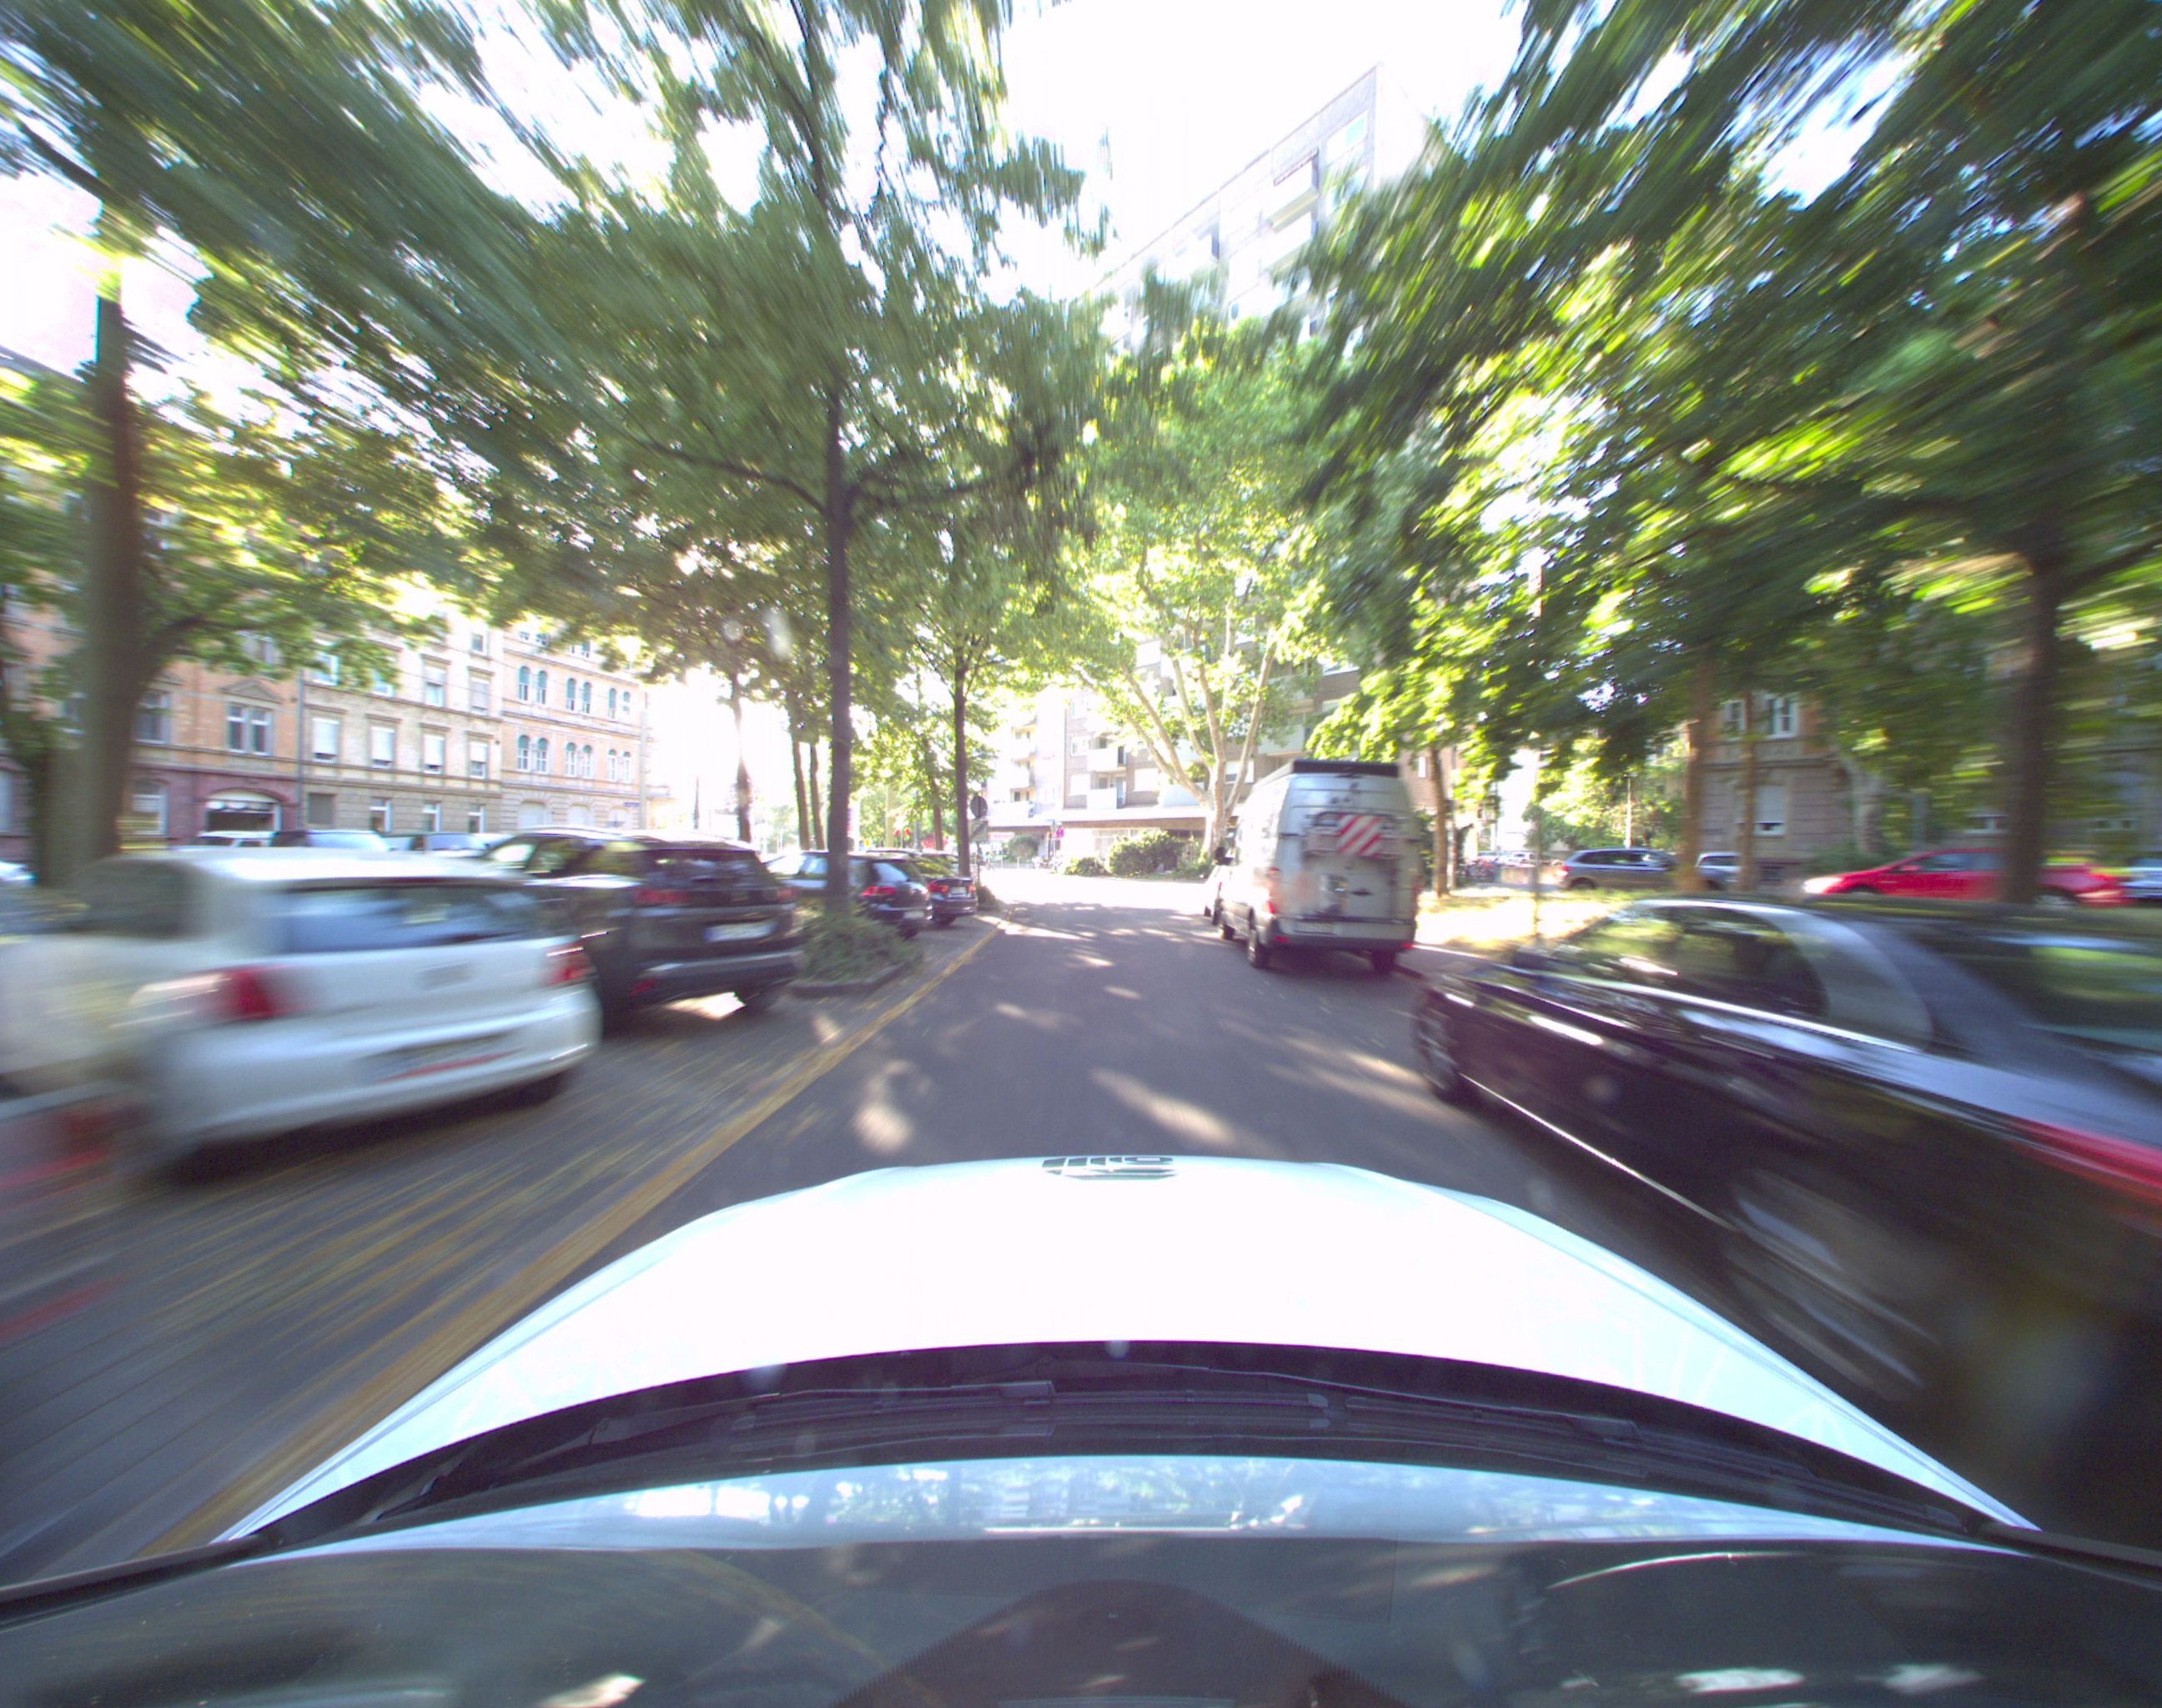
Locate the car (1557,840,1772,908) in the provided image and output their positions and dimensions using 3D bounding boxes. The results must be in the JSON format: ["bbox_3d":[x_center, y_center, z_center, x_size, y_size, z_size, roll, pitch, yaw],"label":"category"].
[{"bbox_3d":[14.865,0.494,20.917,1.752,1.552,4.224,4,-3,-43],"label":"car"}]

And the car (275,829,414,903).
[{"bbox_3d":[-21.734,0.317,24.020,3.948,2.013,2.013,0,0,32],"label":"car"}]

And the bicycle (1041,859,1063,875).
[{"bbox_3d":[-1.758,0.787,49.635,0.546,0.904,1.718,0,0,-33],"label":"bicycle"}]

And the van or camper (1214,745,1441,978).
[{"bbox_3d":[3.416,0.065,12.641,2.075,2.762,5.851,1,0,4],"label":"van or camper"}]

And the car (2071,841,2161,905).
[{"bbox_3d":[28.100,0.462,21.551,1.630,1.596,3.671,0,0,37],"label":"car"}]

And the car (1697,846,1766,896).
[{"bbox_3d":[21.793,0.504,27.358,1.712,1.472,4.026,0,2,38],"label":"car"}]

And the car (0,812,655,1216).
[{"bbox_3d":[-4.739,0.585,4.915,4.108,1.459,1.781,3,0,29],"label":"car"}]

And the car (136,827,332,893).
[{"bbox_3d":[-30.183,0.146,29.321,1.846,2.063,4.998,3,1,-1],"label":"car"}]

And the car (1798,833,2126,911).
[{"bbox_3d":[18.478,0.364,17.457,4.587,1.449,1.754,0,-2,44],"label":"car"}]

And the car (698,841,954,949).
[{"bbox_3d":[-4.326,0.613,13.810,3.825,1.439,1.842,3,0,26],"label":"car"}]

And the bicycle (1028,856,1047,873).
[{"bbox_3d":[-2.755,0.638,51.349,0.640,1.022,2.074,0,0,-20],"label":"bicycle"}]

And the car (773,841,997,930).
[{"bbox_3d":[-4.010,0.586,16.644,4.149,1.439,1.842,3,0,26],"label":"car"}]

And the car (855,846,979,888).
[{"bbox_3d":[-6.235,0.483,31.078,4.247,1.429,1.782,2,0,17],"label":"car"}]

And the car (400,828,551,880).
[{"bbox_3d":[-22.097,-0.021,29.738,4.999,1.764,2.096,0,0,22],"label":"car"}]

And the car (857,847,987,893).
[{"bbox_3d":[-5.509,0.538,28.352,3.997,1.406,1.782,2,0,15],"label":"car"}]

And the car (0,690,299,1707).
[{"bbox_3d":[-4.117,0.507,1.766,4.940,1.781,1.999,3,0,28],"label":"car"}]

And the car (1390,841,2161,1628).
[{"bbox_3d":[3.003,0.732,3.623,1.674,1.525,4.491,1,0,2],"label":"car"}]

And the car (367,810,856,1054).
[{"bbox_3d":[-4.473,0.518,7.667,4.304,1.626,1.953,3,0,29],"label":"car"}]

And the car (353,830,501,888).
[{"bbox_3d":[-21.758,0.136,27.060,4.775,1.764,2.098,0,0,28],"label":"car"}]

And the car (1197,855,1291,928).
[{"bbox_3d":[3.737,0.795,19.252,1.673,1.446,3.877,3,1,4],"label":"car"}]

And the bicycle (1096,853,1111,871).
[{"bbox_3d":[1.368,0.464,48.869,0.351,1.038,1.041,0,0,-34],"label":"bicycle"}]

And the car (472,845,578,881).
[{"bbox_3d":[-21.647,0.322,31.718,3.589,1.329,1.726,0,0,23],"label":"car"}]

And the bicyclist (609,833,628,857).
[{"bbox_3d":[-30.948,-0.579,54.450,0.587,1.492,0.705,5,-5,15],"label":"bicyclist"}]

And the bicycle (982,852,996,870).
[{"bbox_3d":[-6.537,0.490,57.669,0.640,1.226,2.076,0,0,-17],"label":"bicycle"}]

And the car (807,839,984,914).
[{"bbox_3d":[-4.530,0.510,19.840,3.836,1.493,1.843,3,0,27],"label":"car"}]

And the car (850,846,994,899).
[{"bbox_3d":[-4.957,0.559,25.519,3.942,1.365,1.782,3,0,16],"label":"car"}]
